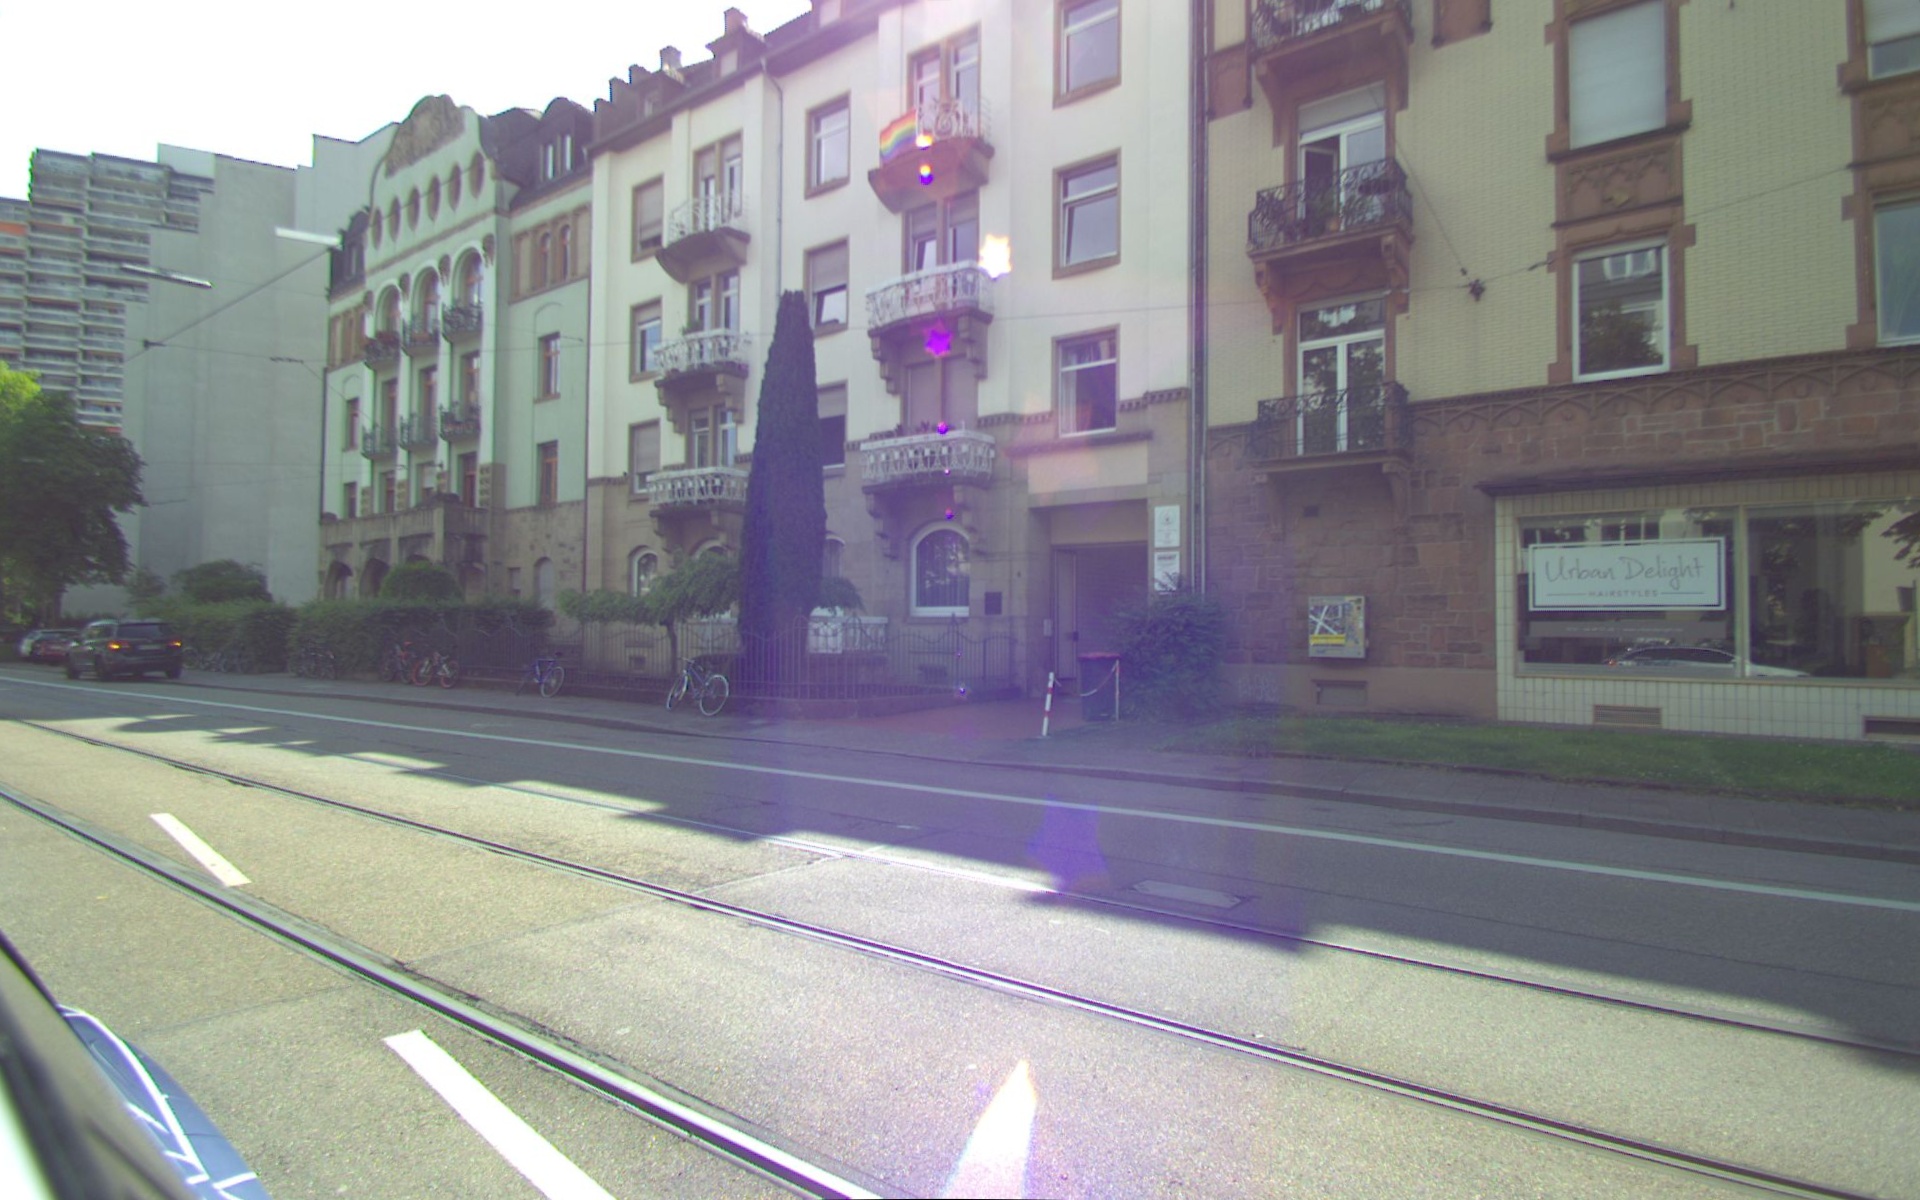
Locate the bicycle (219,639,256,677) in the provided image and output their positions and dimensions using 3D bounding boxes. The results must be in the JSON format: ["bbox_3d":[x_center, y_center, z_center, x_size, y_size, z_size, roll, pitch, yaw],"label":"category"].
[{"bbox_3d":[-22.509,1.803,31.512,1.785,1.144,0.462,-1,-3,39],"label":"bicycle"}]

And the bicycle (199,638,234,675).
[{"bbox_3d":[-24.041,1.817,32.704,1.785,1.144,0.462,-1,-3,39],"label":"bicycle"}]

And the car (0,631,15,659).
[{"bbox_3d":[-53.471,2.426,54.294,3.939,1.519,2.002,2,-3,-43],"label":"car"}]

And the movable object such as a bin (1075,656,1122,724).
[{"bbox_3d":[2.163,1.395,15.828,0.698,1.037,0.475,0,-2,13],"label":"movable object such as a bin"}]

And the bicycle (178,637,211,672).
[{"bbox_3d":[-25.703,1.809,33.984,1.785,1.144,0.462,-1,-3,39],"label":"bicycle"}]

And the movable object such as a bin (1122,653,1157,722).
[{"bbox_3d":[2.797,1.360,15.783,0.531,1.037,0.475,0,-2,10],"label":"movable object such as a bin"}]

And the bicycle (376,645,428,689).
[{"bbox_3d":[-13.630,1.619,24.693,1.785,1.003,0.462,-1,-3,39],"label":"bicycle"}]

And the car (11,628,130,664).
[{"bbox_3d":[-40.278,2.072,45.902,3.939,1.519,2.002,2,-3,-43],"label":"car"}]

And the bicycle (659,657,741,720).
[{"bbox_3d":[-4.513,1.501,17.487,0.461,1.003,1.980,2,-3,-43],"label":"bicycle"}]

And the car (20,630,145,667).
[{"bbox_3d":[-37.658,2.083,43.504,3.939,1.519,2.002,2,-3,-43],"label":"car"}]

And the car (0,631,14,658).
[{"bbox_3d":[-55.674,2.496,56.584,3.939,1.519,2.002,2,-3,-43],"label":"car"}]

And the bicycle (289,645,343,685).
[{"bbox_3d":[-17.117,1.712,26.883,1.979,1.003,0.597,-1,-3,39],"label":"bicycle"}]

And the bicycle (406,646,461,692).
[{"bbox_3d":[-12.207,1.587,23.439,1.785,1.003,0.462,-1,-3,39],"label":"bicycle"}]

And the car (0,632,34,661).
[{"bbox_3d":[-50.768,2.404,52.529,3.939,1.519,2.002,2,-3,-43],"label":"car"}]

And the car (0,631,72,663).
[{"bbox_3d":[-45.609,2.252,48.933,3.939,1.519,2.002,2,-3,-43],"label":"car"}]

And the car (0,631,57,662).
[{"bbox_3d":[-48.076,2.323,50.896,3.939,1.519,2.002,2,-3,-43],"label":"car"}]

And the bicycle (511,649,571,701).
[{"bbox_3d":[-8.605,1.523,20.764,1.788,1.003,0.461,-2,-3,45],"label":"bicycle"}]

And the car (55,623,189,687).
[{"bbox_3d":[-24.230,1.532,29.225,4.392,1.708,1.899,-1,-2,35],"label":"car"}]

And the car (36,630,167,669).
[{"bbox_3d":[-34.961,2.007,41.266,3.939,1.519,2.002,2,-3,-43],"label":"car"}]
